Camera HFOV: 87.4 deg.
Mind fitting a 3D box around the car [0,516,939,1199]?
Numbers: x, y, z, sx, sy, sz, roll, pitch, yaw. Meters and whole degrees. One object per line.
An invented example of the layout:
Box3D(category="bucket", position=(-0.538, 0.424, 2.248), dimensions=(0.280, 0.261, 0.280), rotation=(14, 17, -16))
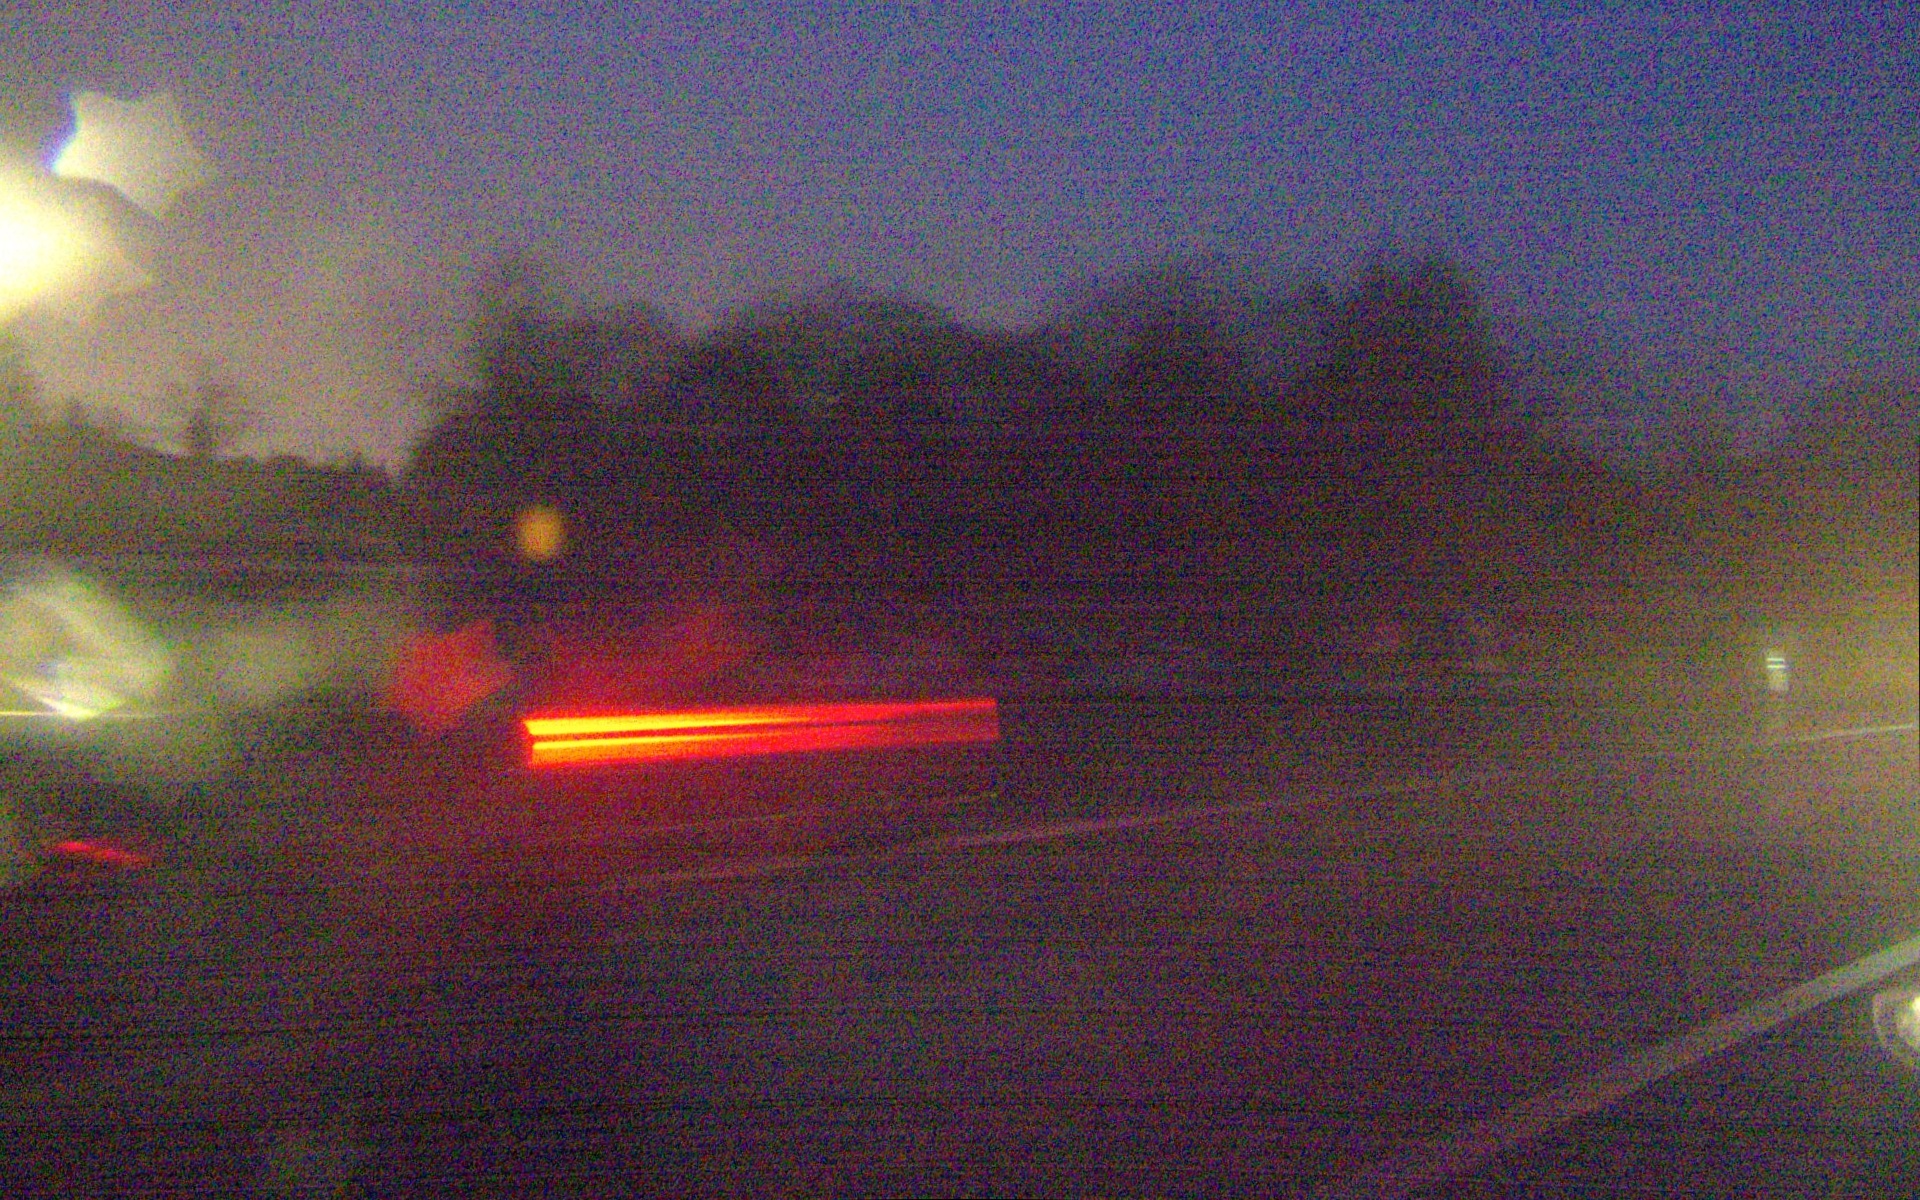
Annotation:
Box3D(category="car", position=(-2.228, 0.642, 3.384), dimensions=(3.955, 1.643, 1.799), rotation=(1, -1, -32))
